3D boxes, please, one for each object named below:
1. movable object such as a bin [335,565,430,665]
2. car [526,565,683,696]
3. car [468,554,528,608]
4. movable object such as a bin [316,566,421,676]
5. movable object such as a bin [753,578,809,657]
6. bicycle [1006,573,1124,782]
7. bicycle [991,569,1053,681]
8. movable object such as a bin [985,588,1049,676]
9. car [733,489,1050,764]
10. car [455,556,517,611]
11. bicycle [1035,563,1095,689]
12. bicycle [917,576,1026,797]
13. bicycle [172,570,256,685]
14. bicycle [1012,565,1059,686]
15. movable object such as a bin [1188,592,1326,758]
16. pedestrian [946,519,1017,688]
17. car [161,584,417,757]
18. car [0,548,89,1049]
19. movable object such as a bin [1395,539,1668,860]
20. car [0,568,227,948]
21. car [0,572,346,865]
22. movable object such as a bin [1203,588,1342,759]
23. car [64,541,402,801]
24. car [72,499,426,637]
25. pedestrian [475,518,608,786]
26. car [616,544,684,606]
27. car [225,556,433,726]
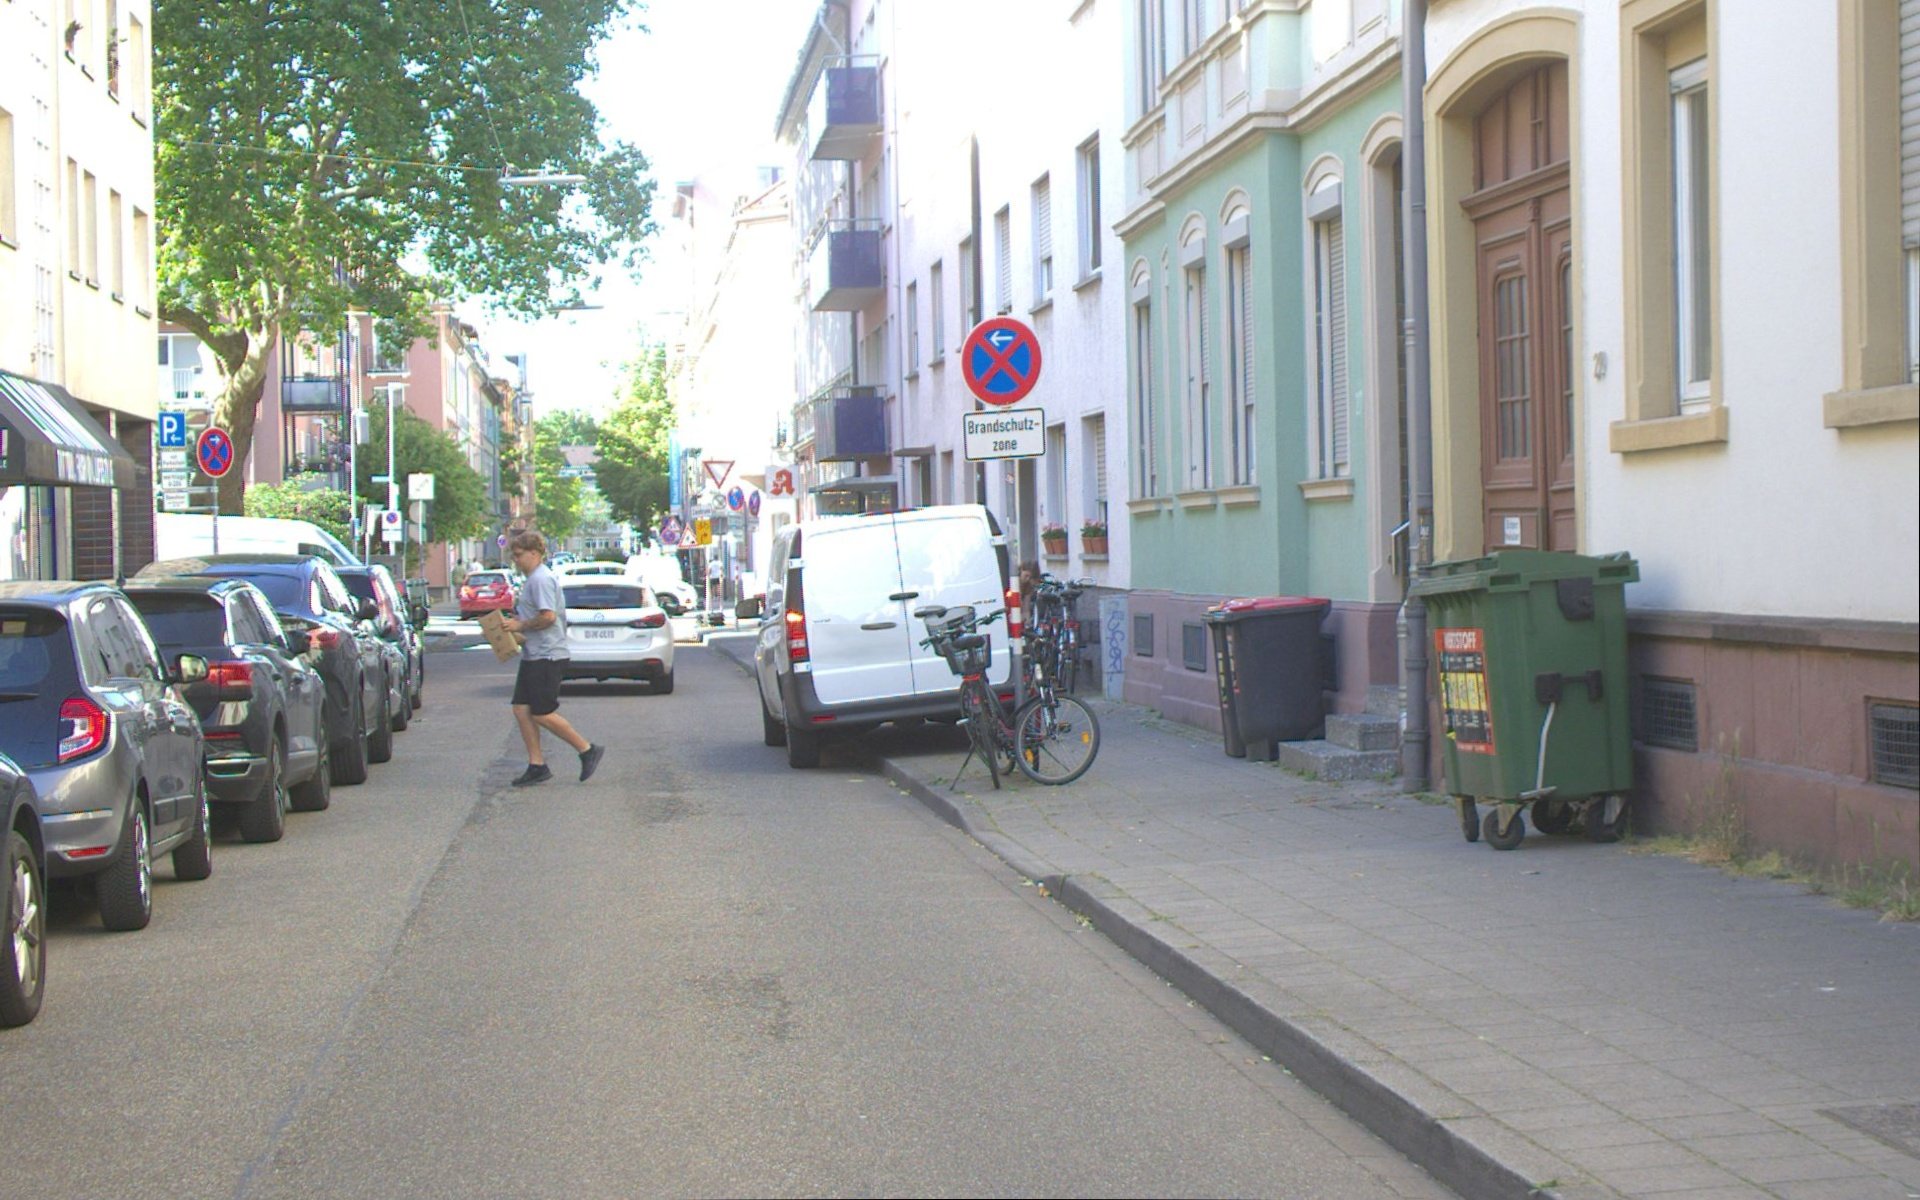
[{"bbox_3d":[-8.720,0.224,51.992,1.334,1.486,1.082,-1,0,-6],"label":"movable object such as a bin"},{"bbox_3d":[-4.441,0.342,42.782,1.823,1.509,3.824,-1,1,-6],"label":"car"},{"bbox_3d":[-15.086,-0.621,112.360,1.720,1.677,3.726,-1,1,-5],"label":"car"},{"bbox_3d":[-8.391,0.297,48.860,1.334,1.479,1.094,-3,0,-6],"label":"movable object such as a bin"},{"bbox_3d":[-2.503,0.237,48.093,0.732,1.077,0.703,-1,0,-5],"label":"movable object such as a bin"},{"bbox_3d":[0.676,0.479,22.687,0.575,1.266,2.199,-3,1,-2],"label":"bicycle"},{"bbox_3d":[0.652,0.256,36.525,0.568,1.149,1.868,-1,0,-1],"label":"bicycle"},{"bbox_3d":[0.627,0.352,37.797,0.577,0.921,0.608,-4,1,-6],"label":"movable object such as a bin"},{"bbox_3d":[-0.687,0.151,28.222,1.983,1.877,5.601,-5,1,-6],"label":"car"},{"bbox_3d":[-14.705,-0.515,106.772,1.769,1.583,3.727,-1,2,-6],"label":"car"},{"bbox_3d":[1.029,0.247,34.124,0.405,1.202,2.159,-1,0,-3],"label":"bicycle"},{"bbox_3d":[0.058,0.523,22.306,0.575,1.316,2.199,-2,1,-2],"label":"bicycle"},{"bbox_3d":[-8.944,0.340,41.289,0.465,1.327,1.854,3,-1,2],"label":"bicycle"},{"bbox_3d":[0.774,0.248,35.442,0.438,1.202,2.266,-1,0,1],"label":"bicycle"},{"bbox_3d":[2.010,0.500,23.339,0.812,1.084,0.674,-1,0,-3],"label":"movable object such as a bin"},{"bbox_3d":[0.223,0.035,35.368,0.655,1.705,0.686,-1,0,4],"label":"pedestrian"},{"bbox_3d":[-6.189,0.605,32.198,1.845,1.412,4.818,-3,0,-6],"label":"car"},{"bbox_3d":[-3.949,0.694,10.429,1.744,1.609,4.604,-3,1,-5],"label":"car"},{"bbox_3d":[2.653,0.457,16.099,0.837,1.385,1.297,-4,-1,-7],"label":"movable object such as a bin"},{"bbox_3d":[-4.484,0.651,16.201,1.615,1.548,3.979,-1,1,-7],"label":"car"},{"bbox_3d":[-4.862,0.631,20.954,1.713,1.526,4.367,-2,1,-4],"label":"car"},{"bbox_3d":[2.054,0.475,22.669,0.797,1.092,0.642,-1,0,-3],"label":"movable object such as a bin"},{"bbox_3d":[-5.462,0.462,26.441,1.936,1.730,5.143,-2,1,-6],"label":"car"},{"bbox_3d":[-14.387,-0.646,69.871,6.738,2.546,2.146,2,0,-4],"label":"car"},{"bbox_3d":[-2.938,0.358,24.160,0.865,1.830,0.884,-1,0,-7],"label":"pedestrian"},{"bbox_3d":[-9.986,-0.818,110.444,1.942,1.941,4.079,0,1,-8],"label":"car"},{"bbox_3d":[-6.822,0.389,37.544,1.782,1.661,4.671,-3,1,-6],"label":"car"}]
